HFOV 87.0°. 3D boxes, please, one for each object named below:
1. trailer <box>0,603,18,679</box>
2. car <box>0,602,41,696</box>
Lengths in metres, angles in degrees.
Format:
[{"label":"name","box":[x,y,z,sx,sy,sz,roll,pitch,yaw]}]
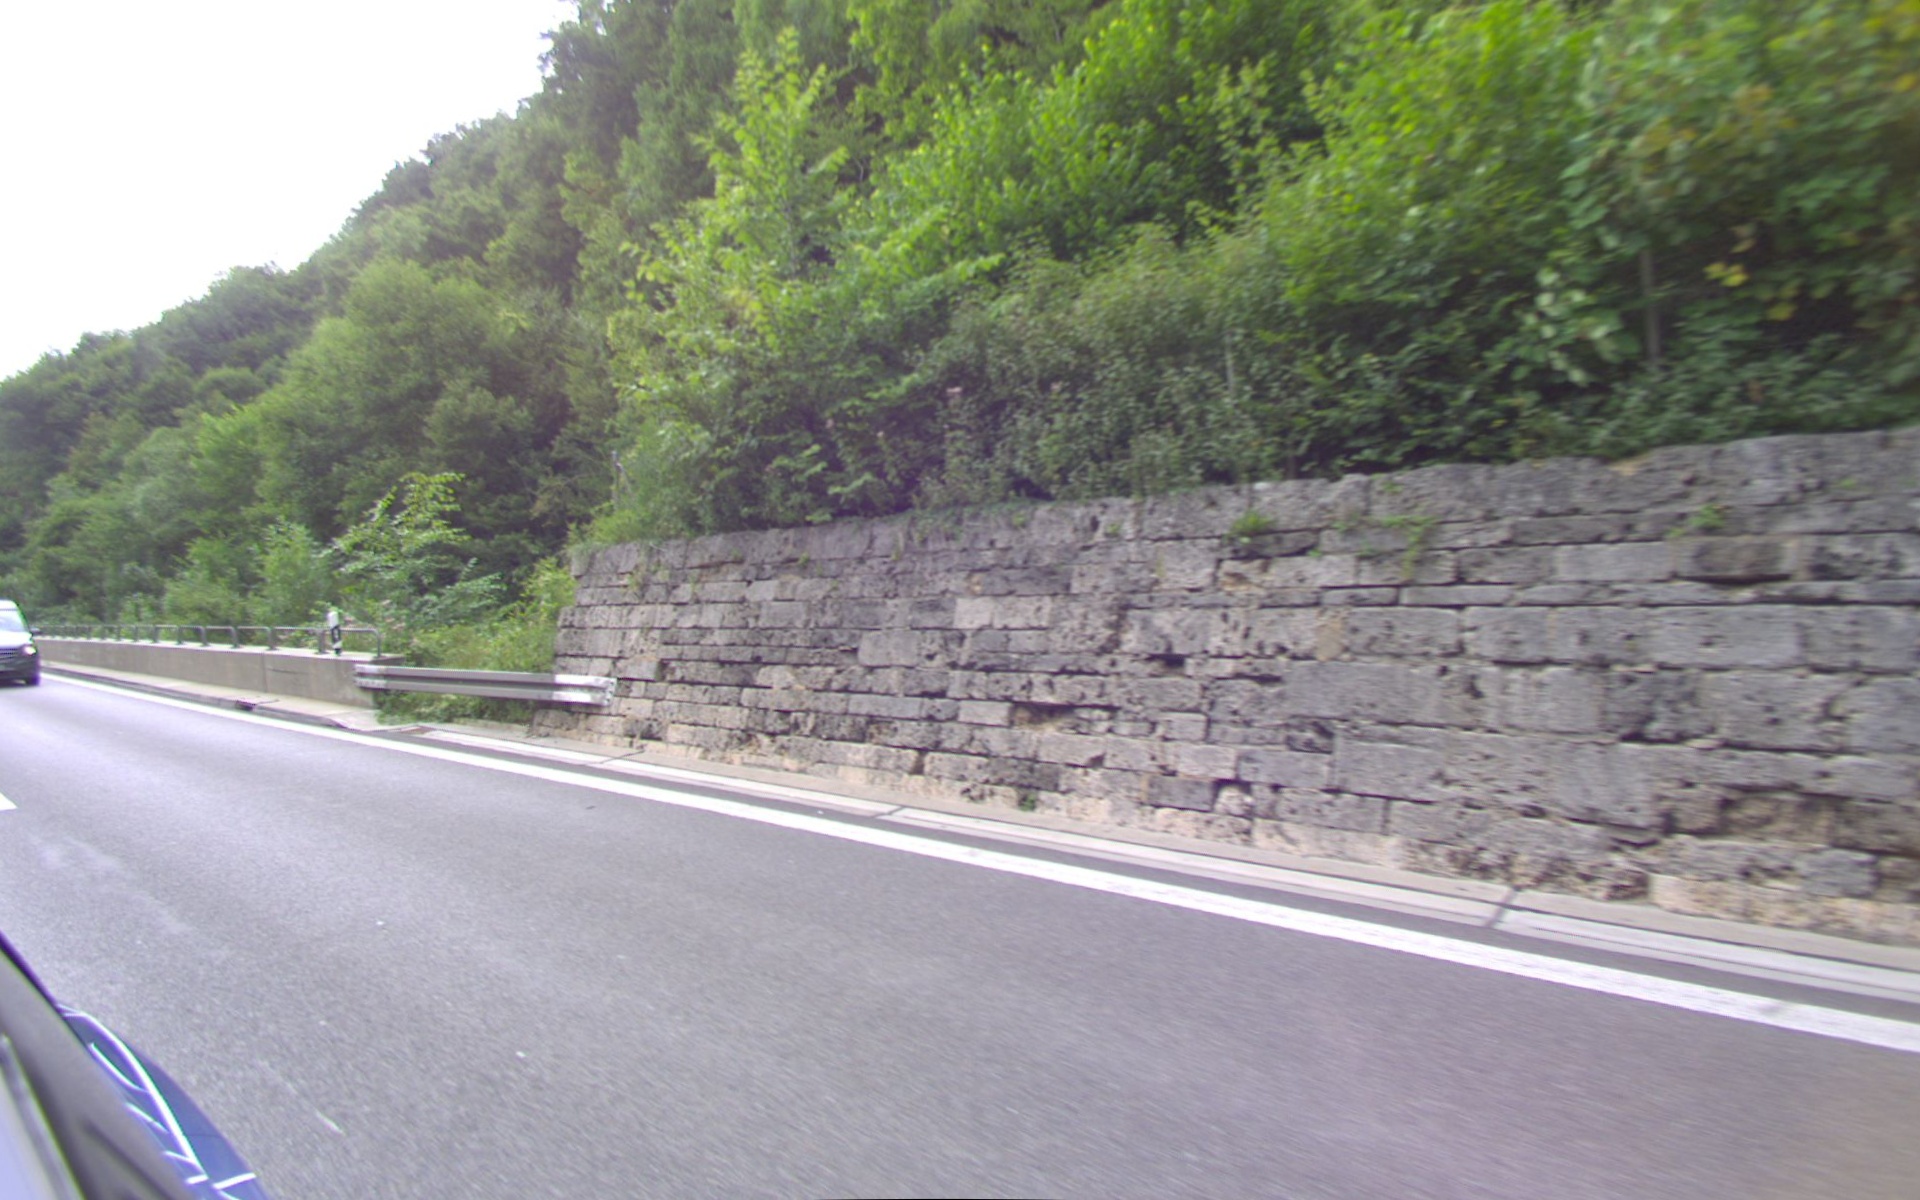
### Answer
[{"label":"trailer","box":[-26.349,1.109,26.683,3.431,1.954,1.949,-1,1,44]},{"label":"car","box":[-23.176,1.139,23.669,5.540,2.029,1.972,-1,1,43]}]
